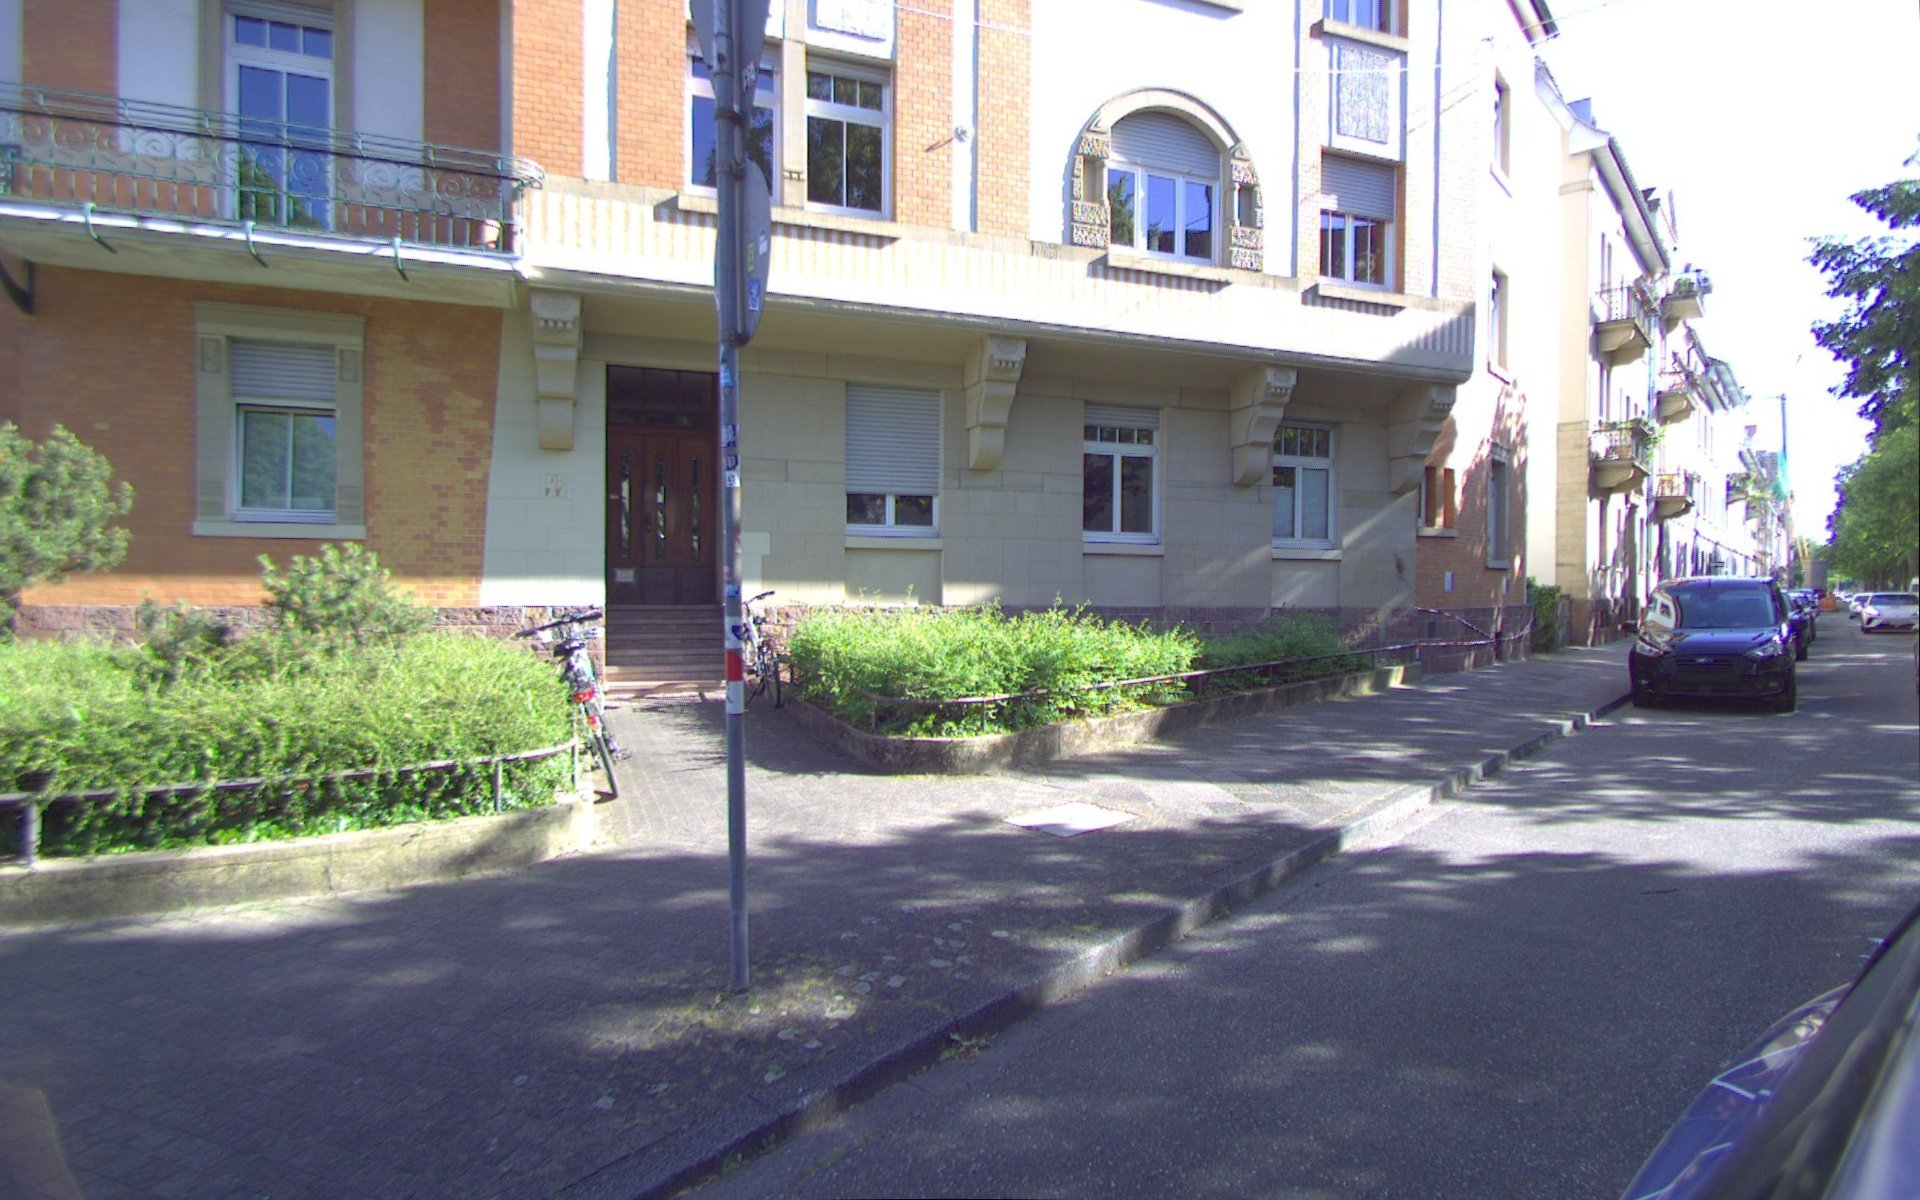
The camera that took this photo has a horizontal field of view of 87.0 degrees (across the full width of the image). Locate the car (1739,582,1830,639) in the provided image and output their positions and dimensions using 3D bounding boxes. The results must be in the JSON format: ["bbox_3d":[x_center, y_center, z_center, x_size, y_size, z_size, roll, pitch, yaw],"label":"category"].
[{"bbox_3d":[24.747,0.296,30.321,1.792,1.576,4.143,-2,-1,43],"label":"car"}]

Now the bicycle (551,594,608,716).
[{"bbox_3d":[-3.817,0.503,10.225,0.489,1.085,1.678,0,2,-19],"label":"bicycle"}]

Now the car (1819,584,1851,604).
[{"bbox_3d":[70.372,-0.493,81.360,1.792,1.576,4.143,-2,-1,43],"label":"car"}]

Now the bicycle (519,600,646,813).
[{"bbox_3d":[-2.551,0.600,6.717,0.674,1.135,1.947,0,2,-24],"label":"bicycle"}]

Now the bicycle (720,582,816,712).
[{"bbox_3d":[-2.064,0.440,10.702,0.583,1.227,1.804,0,2,-24],"label":"bicycle"}]

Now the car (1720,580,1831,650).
[{"bbox_3d":[20.052,0.350,24.836,1.792,1.576,4.143,-2,-1,43],"label":"car"}]

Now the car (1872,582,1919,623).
[{"bbox_3d":[34.715,0.075,37.125,1.792,1.453,4.143,0,0,43],"label":"car"}]

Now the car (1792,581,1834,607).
[{"bbox_3d":[53.766,-0.364,63.775,1.792,1.576,4.143,-2,-1,43],"label":"car"}]

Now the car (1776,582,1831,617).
[{"bbox_3d":[40.774,-0.024,48.882,1.792,1.576,4.143,-2,-1,43],"label":"car"}]

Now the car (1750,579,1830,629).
[{"bbox_3d":[28.118,0.142,34.226,1.792,1.576,4.143,-2,-1,43],"label":"car"}]

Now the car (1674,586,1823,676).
[{"bbox_3d":[14.748,0.523,18.840,1.792,1.472,4.143,-2,-1,43],"label":"car"}]

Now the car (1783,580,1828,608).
[{"bbox_3d":[50.367,-0.353,60.236,1.792,1.576,4.143,-2,-1,43],"label":"car"}]

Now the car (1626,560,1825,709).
[{"bbox_3d":[10.952,0.426,14.369,1.792,1.790,4.143,-2,-1,43],"label":"car"}]
